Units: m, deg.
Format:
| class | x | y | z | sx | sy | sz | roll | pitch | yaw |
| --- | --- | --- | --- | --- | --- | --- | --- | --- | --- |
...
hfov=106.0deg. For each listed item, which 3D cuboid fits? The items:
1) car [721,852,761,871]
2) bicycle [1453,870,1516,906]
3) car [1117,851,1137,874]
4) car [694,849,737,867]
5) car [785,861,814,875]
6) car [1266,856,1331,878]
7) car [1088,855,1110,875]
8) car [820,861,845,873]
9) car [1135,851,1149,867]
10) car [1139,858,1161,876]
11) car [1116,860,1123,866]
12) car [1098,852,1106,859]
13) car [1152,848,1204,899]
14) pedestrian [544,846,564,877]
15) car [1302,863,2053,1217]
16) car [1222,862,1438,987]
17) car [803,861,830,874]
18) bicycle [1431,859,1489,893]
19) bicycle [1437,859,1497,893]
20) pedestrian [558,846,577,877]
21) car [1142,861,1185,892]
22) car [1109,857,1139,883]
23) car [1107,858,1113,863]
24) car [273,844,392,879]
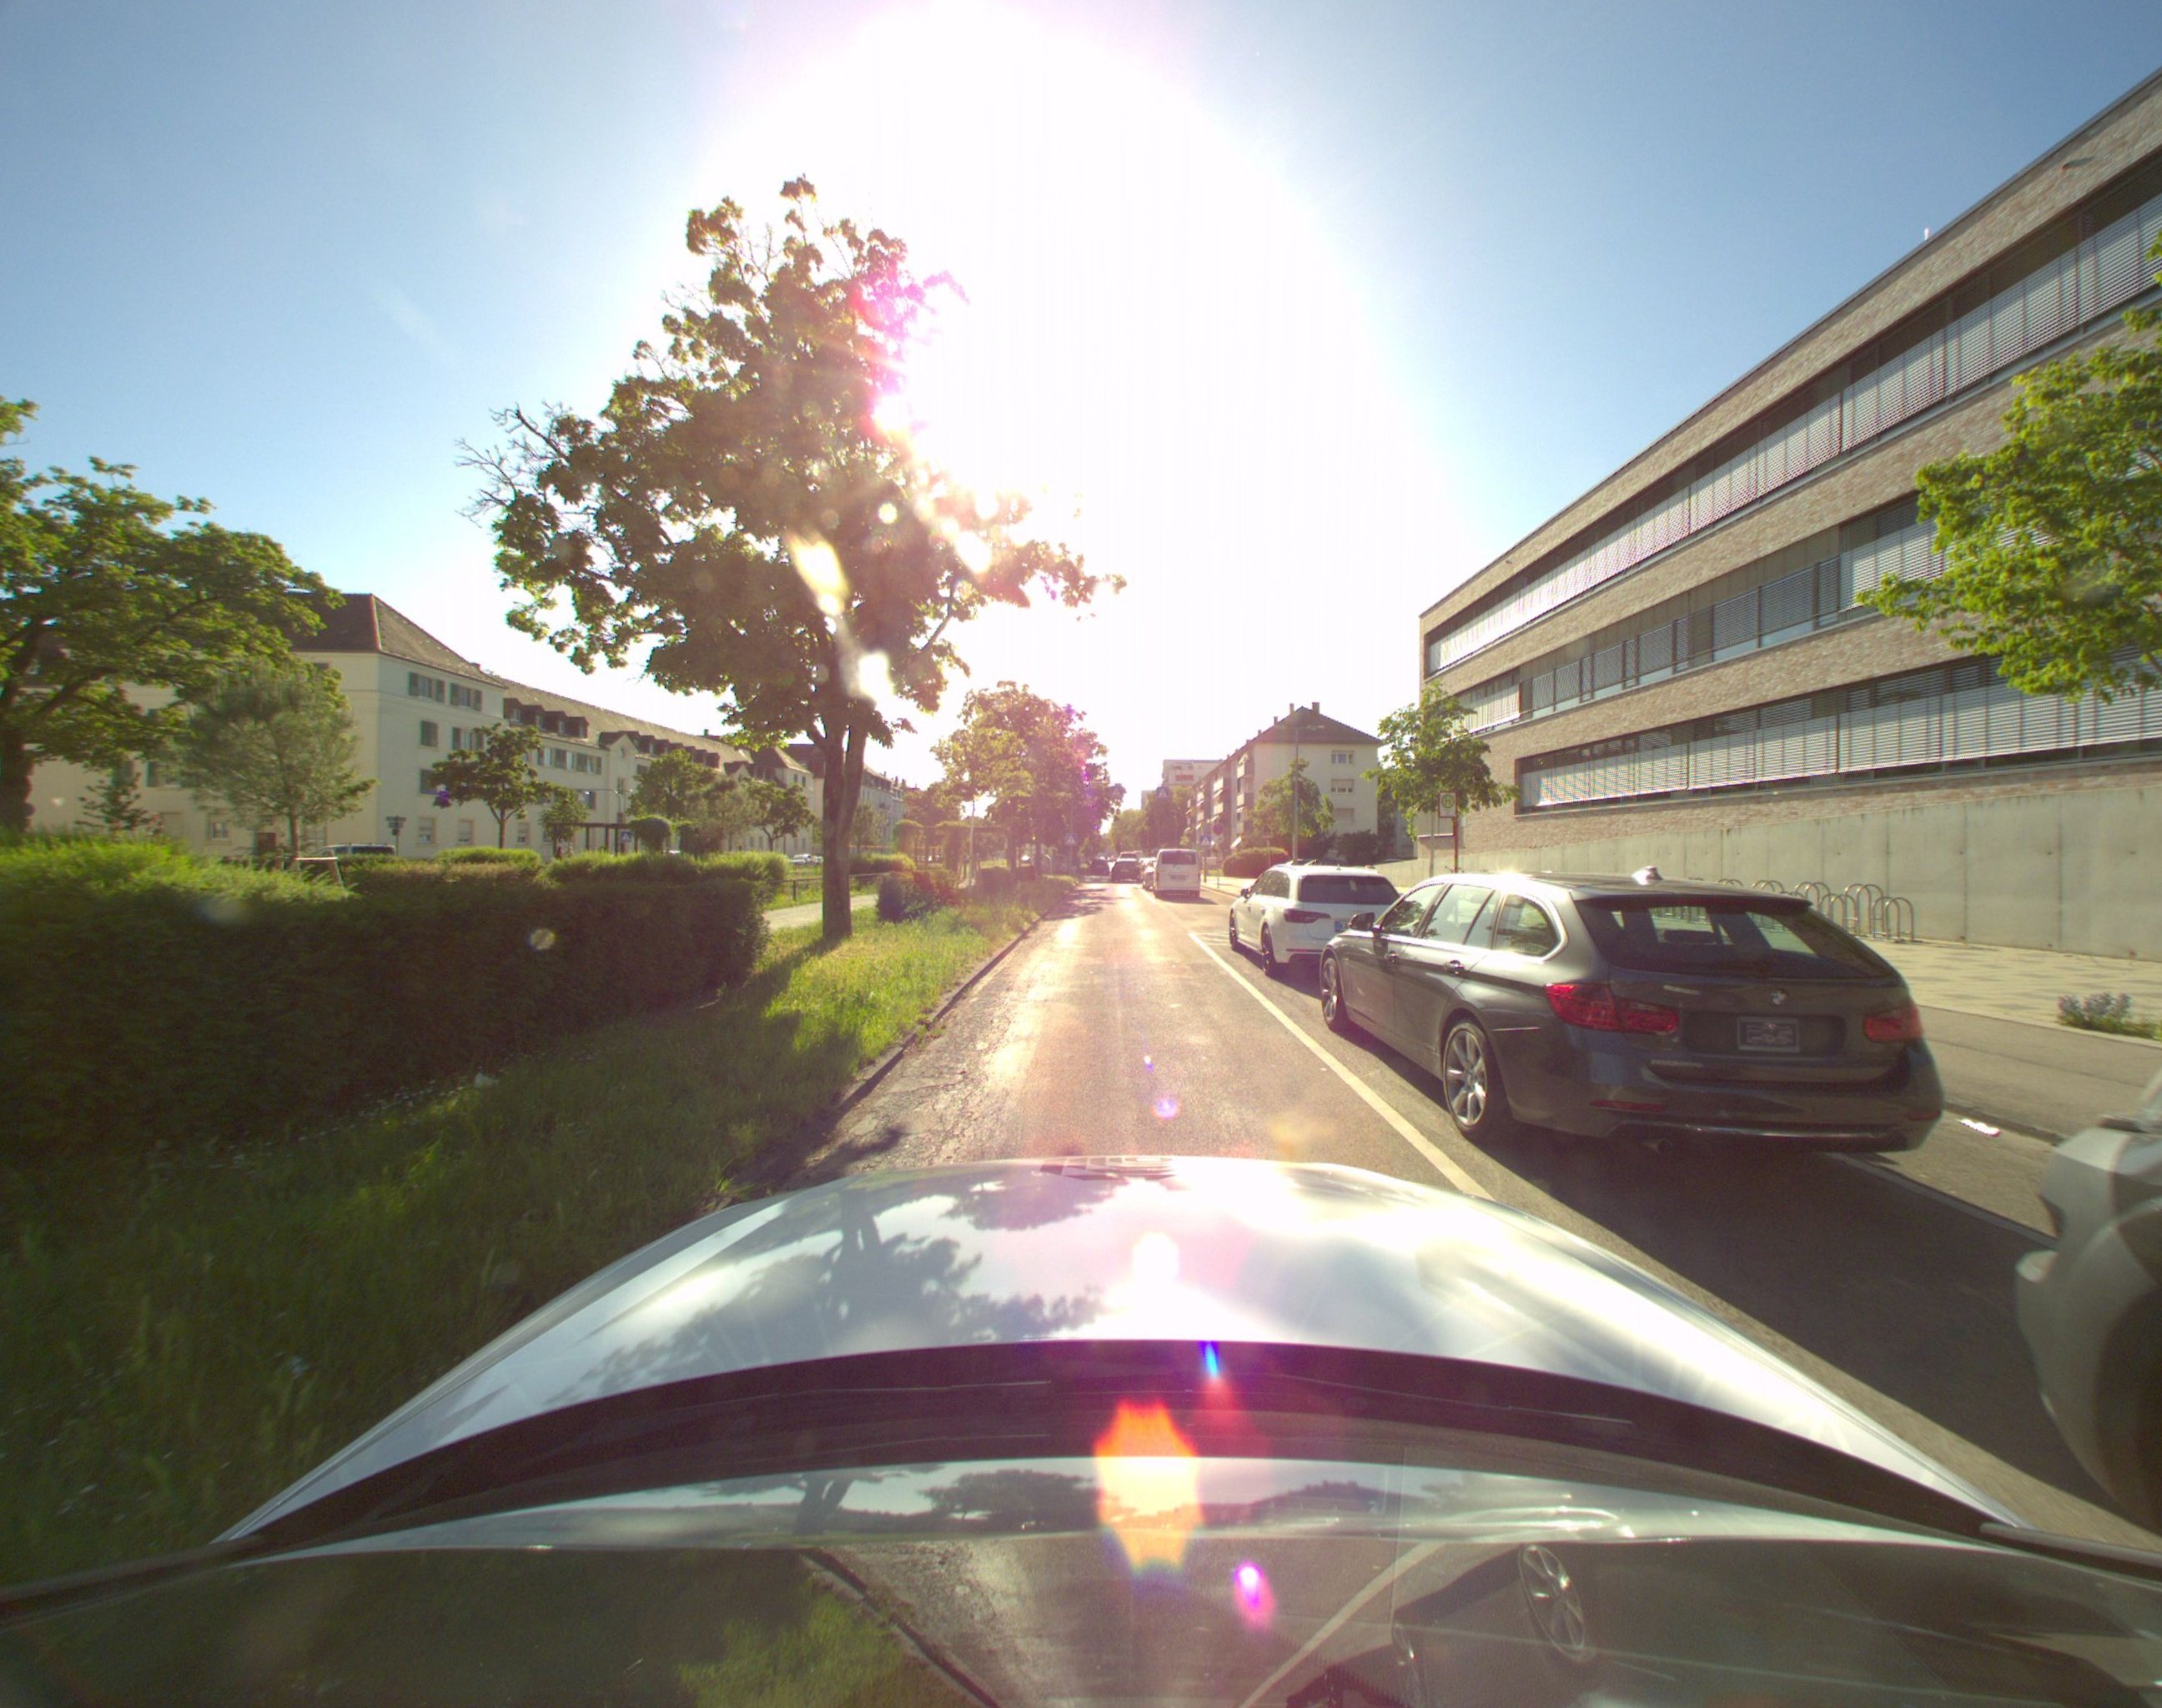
| class | x | y | z | sx | sy | sz | roll | pitch | yaw |
| --- | --- | --- | --- | --- | --- | --- | --- | --- | --- |
| car | -32.800 | 0.726 | 78.686 | 1.787 | 1.710 | 4.705 | 0 | 0 | 2 |
| bicycle | 13.274 | 1.102 | 26.801 | 1.789 | 1.107 | 0.500 | -2 | 0 | -1 |
| car | 4.268 | 0.767 | 75.678 | 1.787 | 2.122 | 4.002 | 0 | 0 | 2 |
| car | -31.402 | 0.366 | 70.064 | 1.787 | 1.510 | 4.002 | 0 | 0 | 2 |
| car | -32.284 | 1.567 | 93.543 | 1.787 | 1.510 | 4.002 | 0 | 0 | 2 |
| car | 16.717 | 1.003 | 62.717 | 4.467 | 1.622 | 1.799 | 0 | -2 | -1 |
| car | 1.586 | 0.945 | 69.899 | 1.787 | 1.624 | 4.002 | 1 | 0 | 2 |
| car | -31.916 | 1.631 | 104.611 | 1.787 | 1.510 | 4.002 | 0 | 0 | 2 |
| car | 9.823 | 0.790 | 130.602 | 1.986 | 2.430 | 4.502 | 2 | 0 | 2 |
| car | 6.214 | 1.136 | 73.458 | 1.787 | 1.601 | 4.002 | 1 | 0 | 2 |
| car | 10.253 | 2.442 | 217.762 | 1.787 | 1.510 | 4.002 | -1 | 0 | 2 |
| car | 4.945 | 0.372 | 194.717 | 1.787 | 1.510 | 4.002 | -1 | 0 | 2 |
| car | 3.773 | 0.724 | 32.288 | 1.786 | 1.855 | 4.417 | 0 | 0 | 4 |
| pedestrian | -29.175 | 0.422 | 45.093 | 0.645 | 1.698 | 0.650 | -1 | -1 | 2 |
| car | 3.076 | 0.787 | 5.676 | 1.986 | 1.420 | 4.638 | 0 | 0 | 2 |
| car | 3.280 | 0.834 | 11.725 | 1.788 | 1.420 | 4.658 | 0 | 0 | 1 |
| car | -32.044 | 1.597 | 98.849 | 1.787 | 1.510 | 4.002 | 0 | 0 | 2 |
| bicycle | 13.301 | 0.756 | 28.576 | 1.789 | 1.107 | 0.500 | -2 | 0 | -1 |
| bicycle | 13.291 | 0.754 | 28.047 | 1.789 | 1.107 | 0.500 | -2 | 0 | -1 |
| pedestrian | -28.403 | 0.408 | 45.066 | 0.645 | 1.698 | 0.650 | -1 | -1 | 2 |
| car | 3.859 | 1.038 | 38.648 | 1.758 | 1.319 | 4.169 | 1 | -1 | 2 |
| car | 2.643 | 0.975 | 50.768 | 1.787 | 1.510 | 4.002 | 0 | 0 | 2 |
| car | 8.817 | 1.842 | 245.230 | 1.787 | 1.510 | 4.002 | -1 | 0 | 2 |
| car | -37.755 | 0.374 | 41.206 | 1.778 | 1.652 | 4.023 | 0 | 0 | 26 |
